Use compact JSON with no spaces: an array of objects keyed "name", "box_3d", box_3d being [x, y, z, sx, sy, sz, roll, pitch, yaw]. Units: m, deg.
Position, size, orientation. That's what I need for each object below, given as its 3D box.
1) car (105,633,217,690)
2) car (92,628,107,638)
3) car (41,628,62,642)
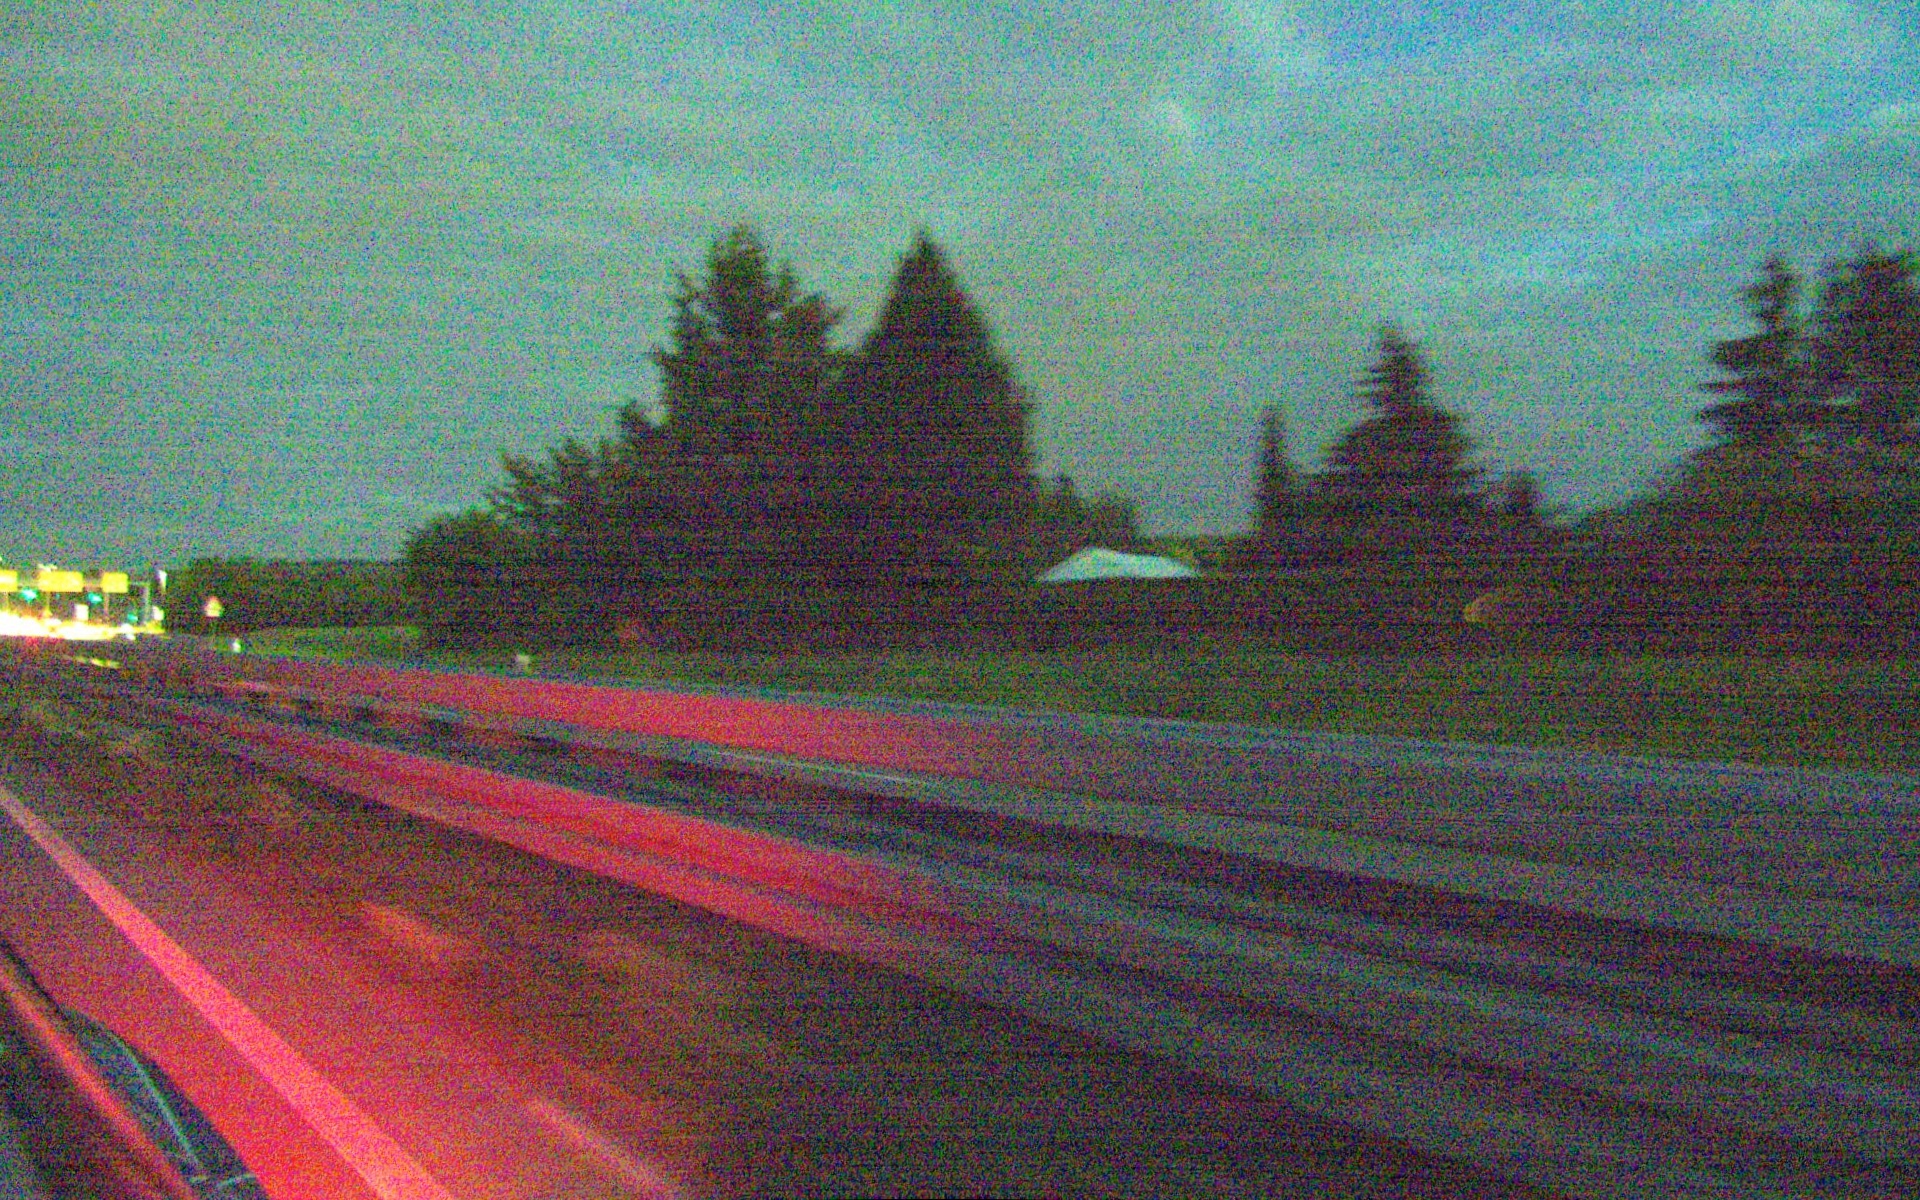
[{"name":"car","box_3d":[-22.860,1.693,28.893,4.572,1.418,1.702,-1,0,41]},{"name":"car","box_3d":[-137.899,5.271,162.187,1.631,1.487,4.007,0,0,-39]},{"name":"car","box_3d":[-107.872,4.149,120.180,1.698,1.458,4.389,0,0,-39]}]
